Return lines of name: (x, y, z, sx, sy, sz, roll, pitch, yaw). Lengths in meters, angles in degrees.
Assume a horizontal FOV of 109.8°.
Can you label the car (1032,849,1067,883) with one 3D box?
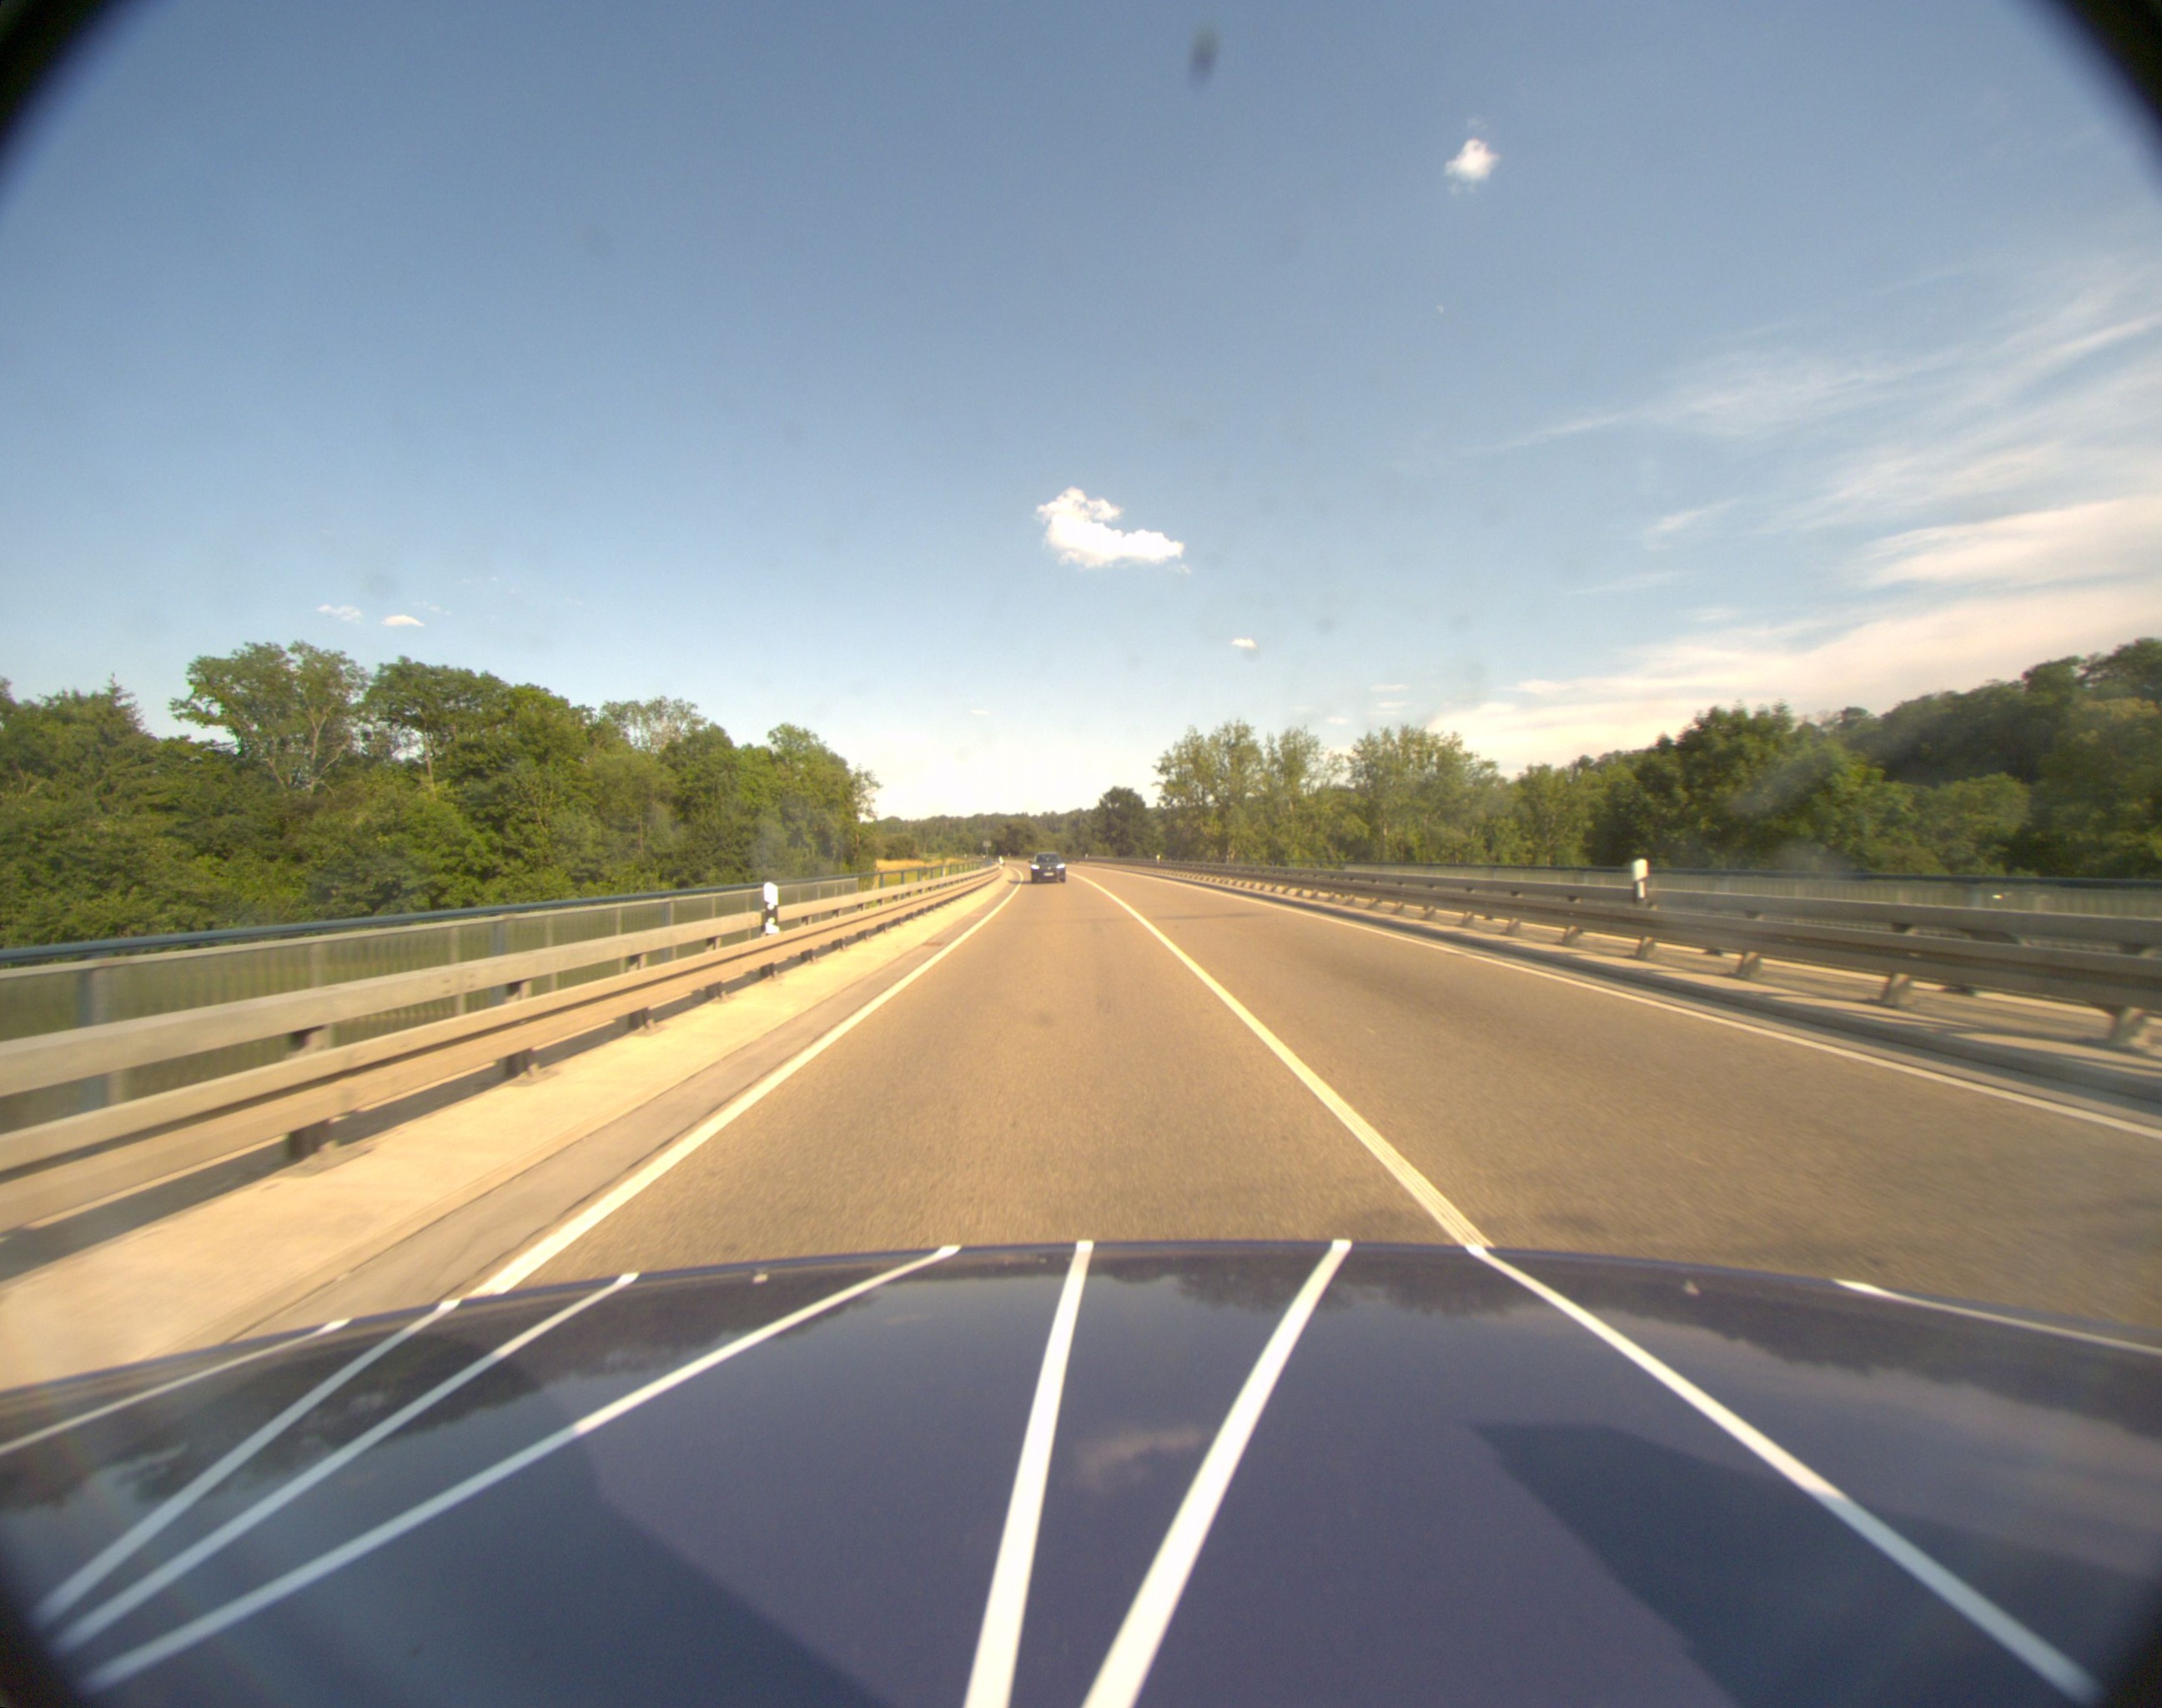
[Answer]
car: (-1.748, 0.603, 41.251, 1.751, 1.645, 4.304, -1, 1, -4)
